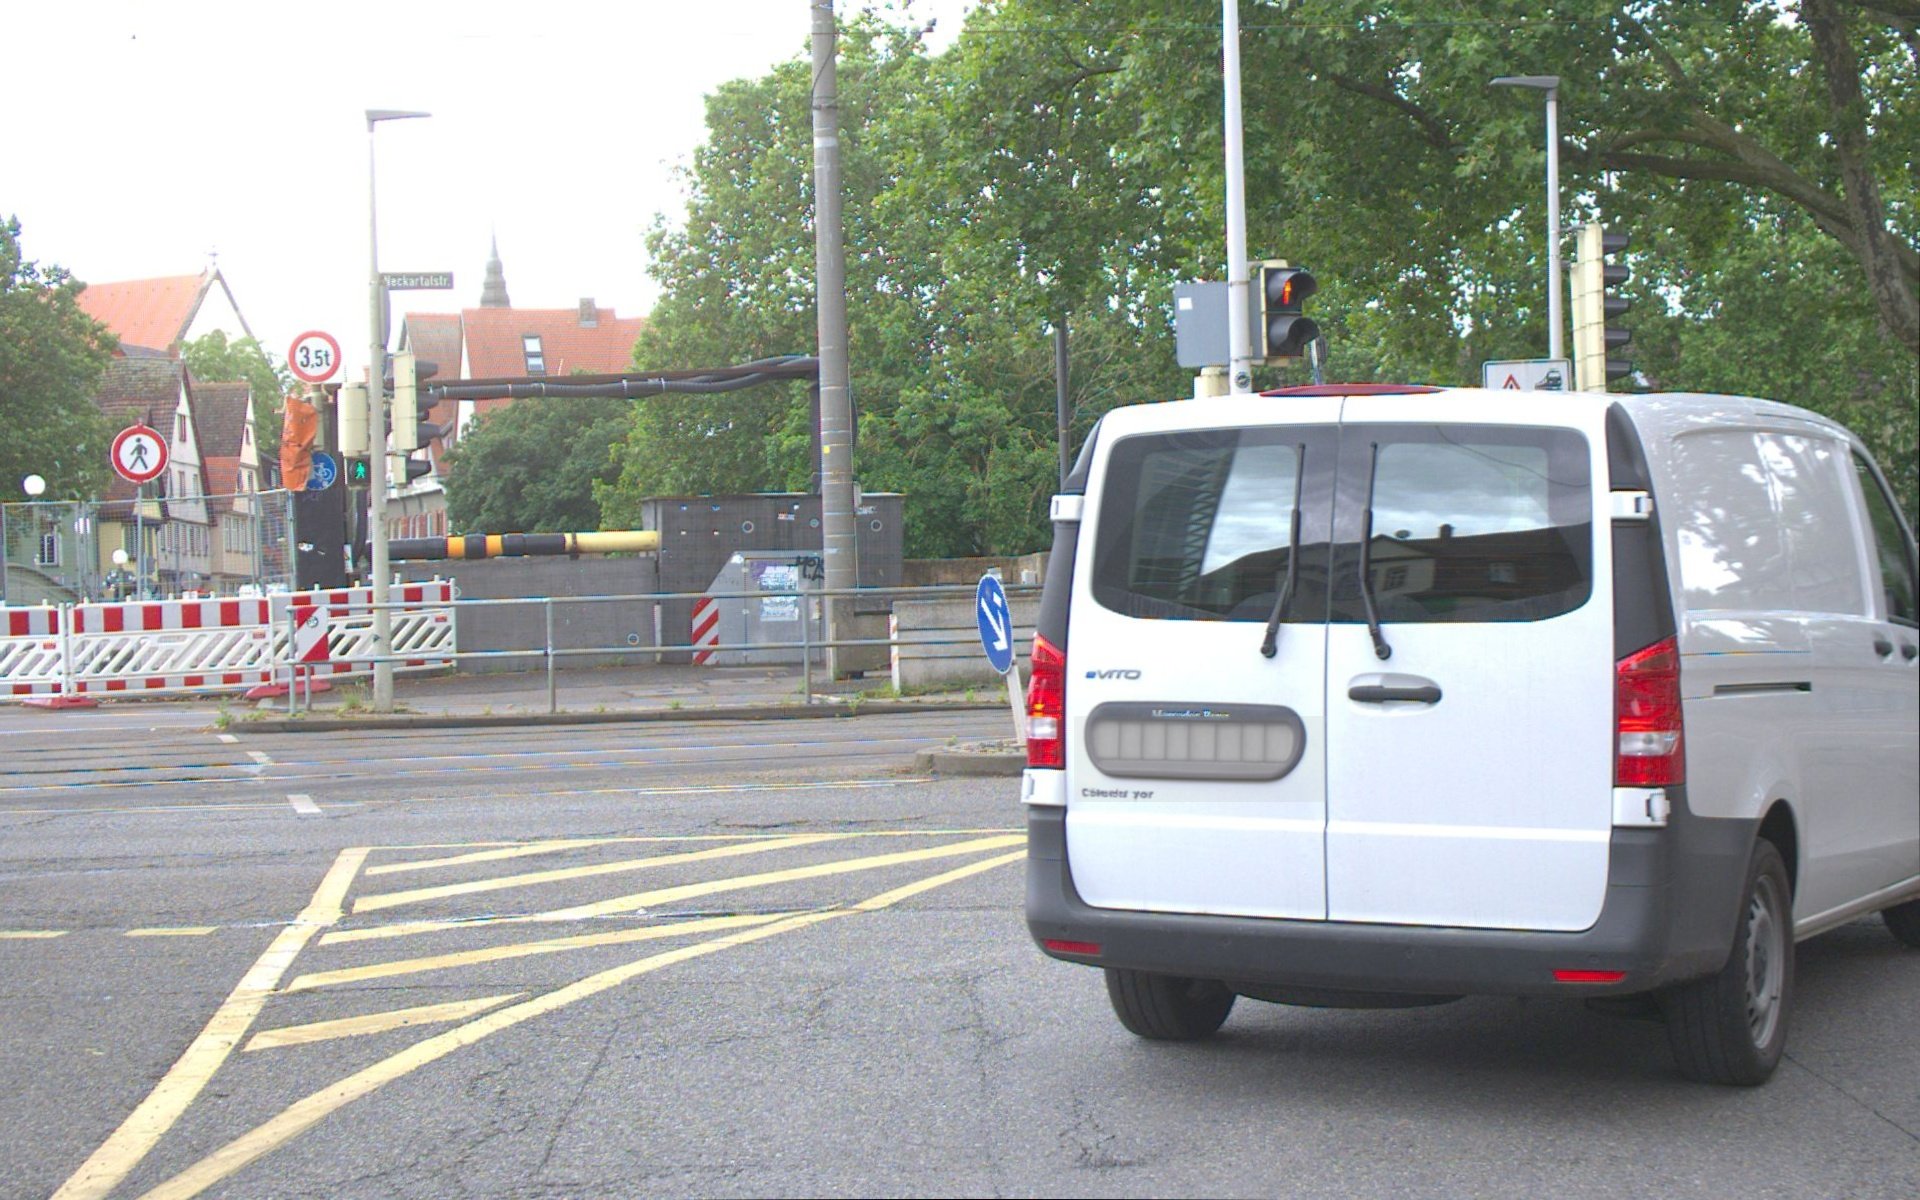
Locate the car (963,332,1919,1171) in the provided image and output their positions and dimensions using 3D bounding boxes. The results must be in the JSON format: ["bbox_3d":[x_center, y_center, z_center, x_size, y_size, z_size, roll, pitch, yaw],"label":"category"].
[{"bbox_3d":[1.901,0.319,10.760,1.953,2.007,4.692,0,1,25],"label":"car"}]
